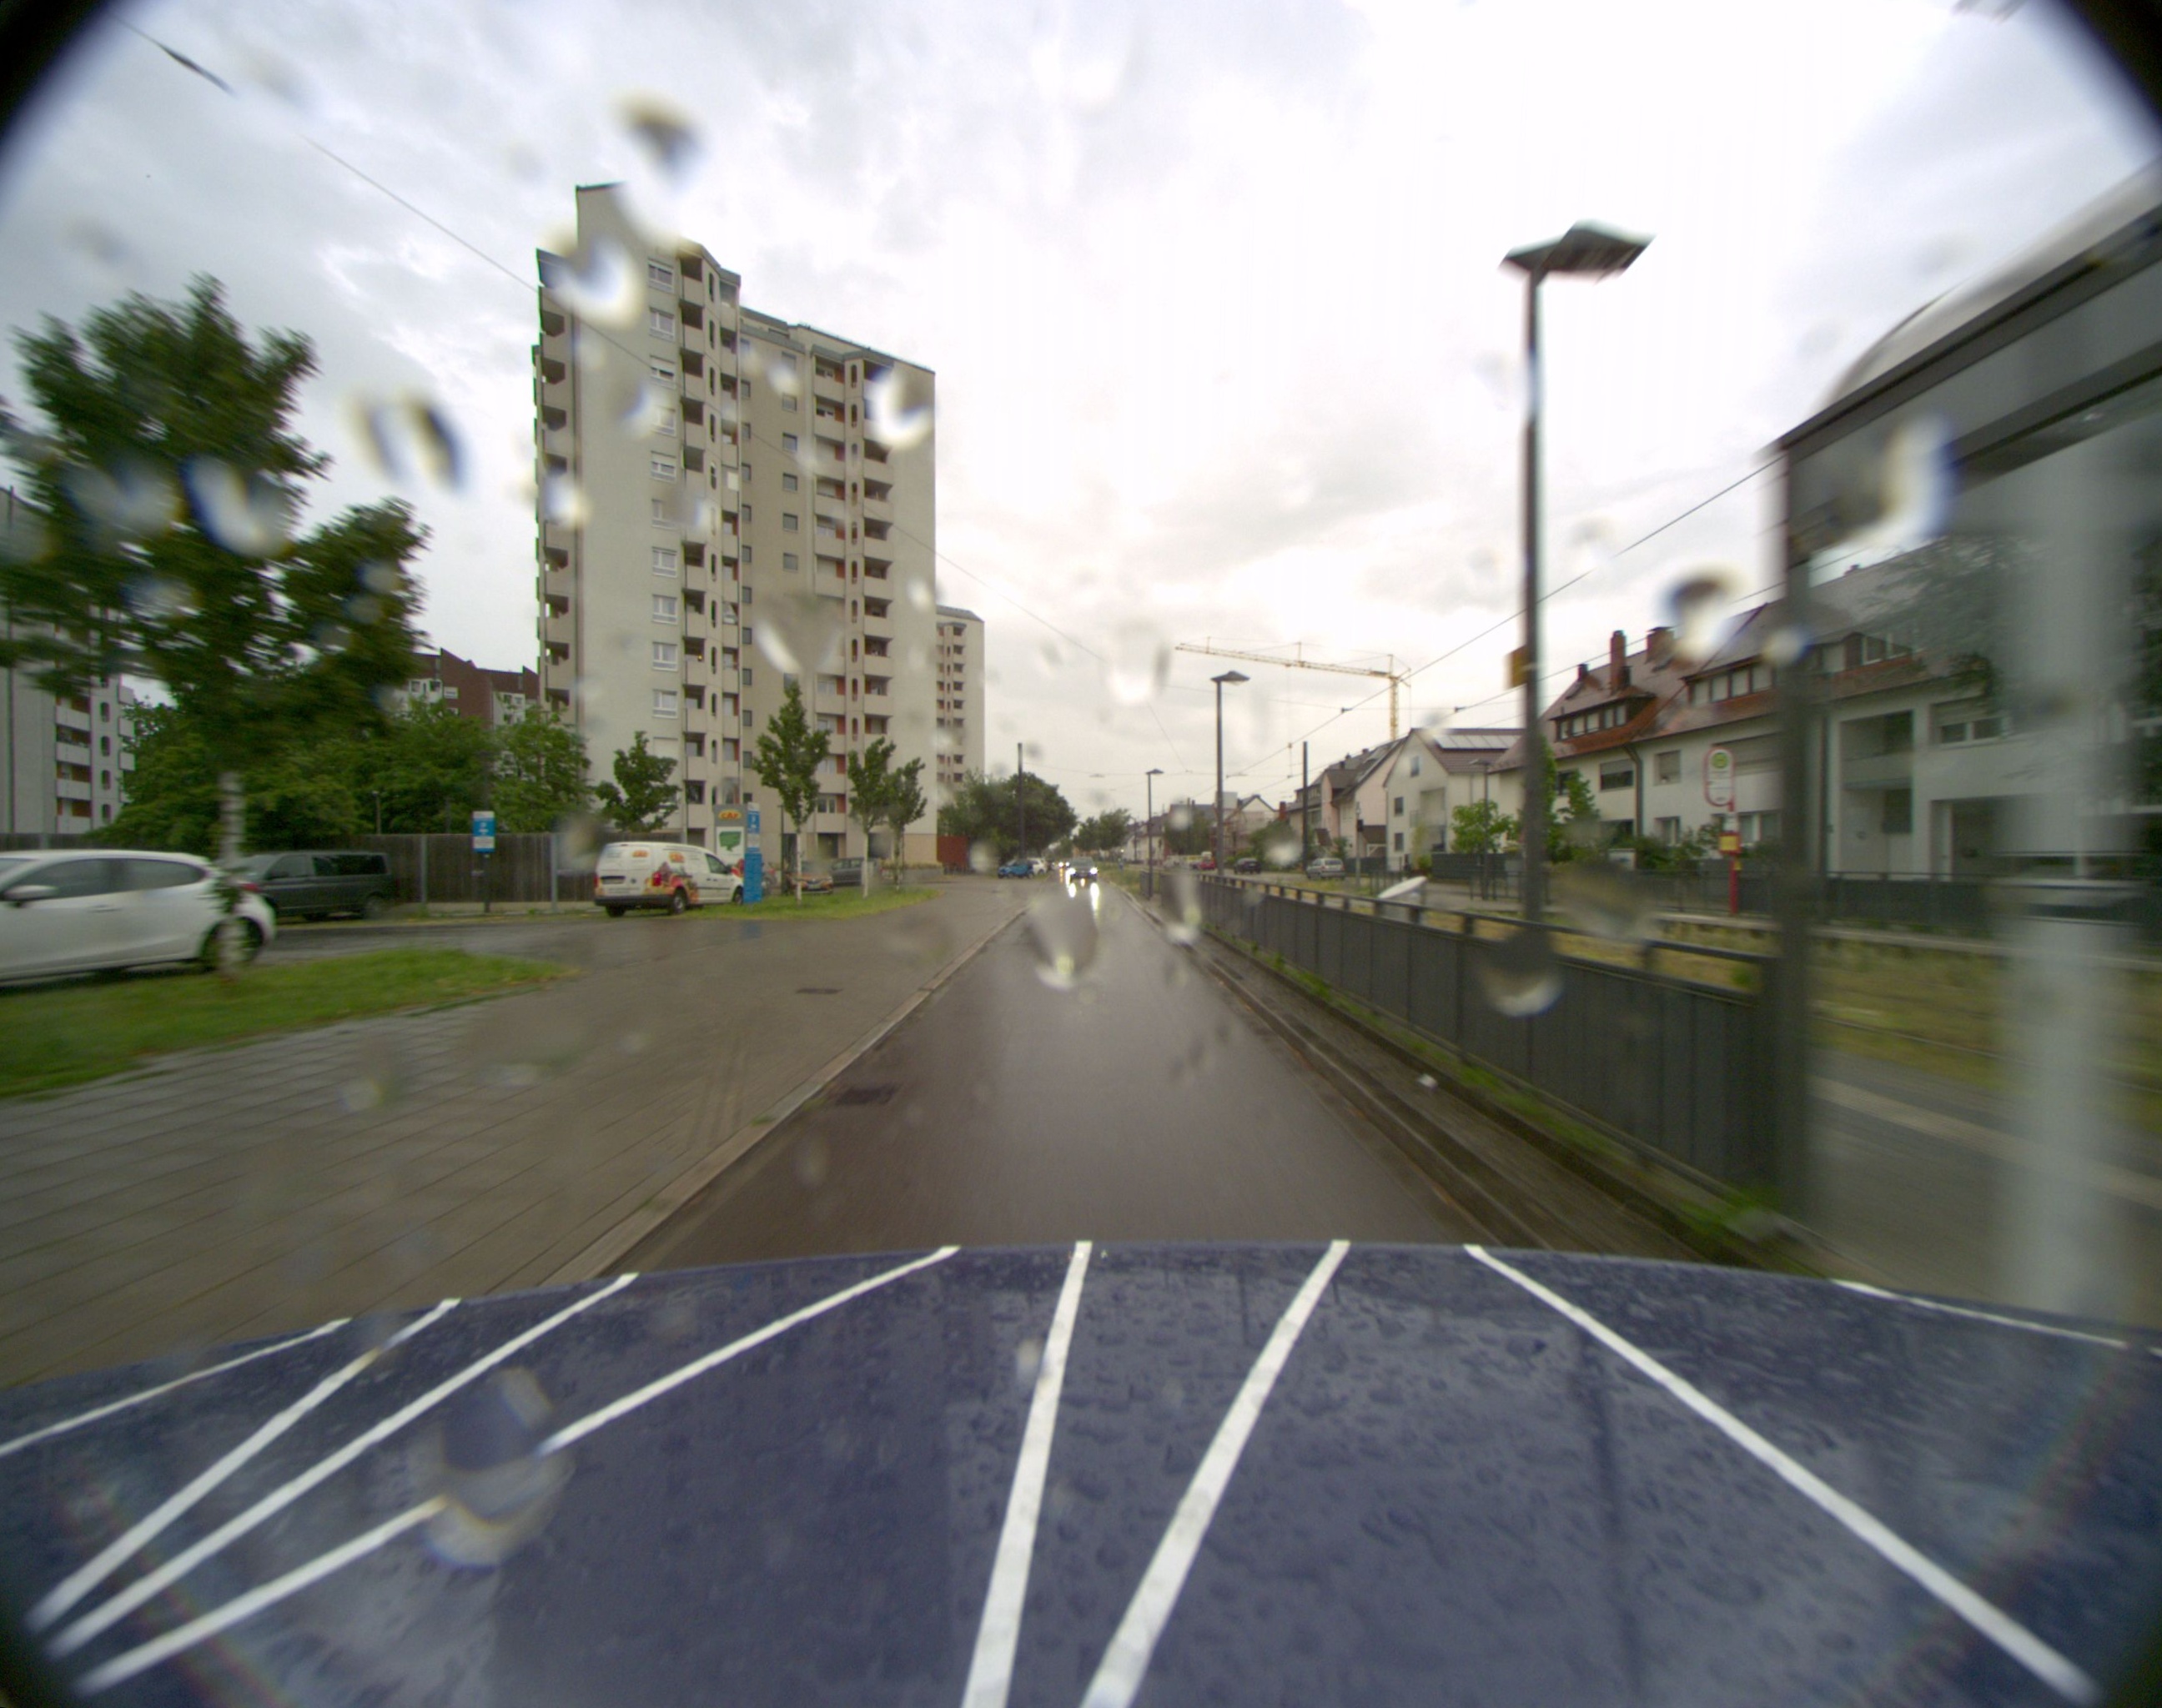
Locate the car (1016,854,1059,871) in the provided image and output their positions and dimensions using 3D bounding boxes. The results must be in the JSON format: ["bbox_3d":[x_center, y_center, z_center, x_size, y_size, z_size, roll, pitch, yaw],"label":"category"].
[{"bbox_3d":[-4.543,0.904,79.604,4.195,1.661,1.680,3,-1,-38],"label":"car"}]

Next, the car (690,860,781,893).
[{"bbox_3d":[-18.173,1.137,40.005,4.119,1.524,1.811,-2,0,-31],"label":"car"}]

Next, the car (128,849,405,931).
[{"bbox_3d":[-20.994,0.865,19.978,1.968,1.858,4.780,-1,0,3],"label":"car"}]

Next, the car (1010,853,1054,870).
[{"bbox_3d":[-5.265,0.822,82.108,4.471,1.661,1.808,3,-1,-39],"label":"car"}]

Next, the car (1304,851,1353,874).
[{"bbox_3d":[16.682,0.540,51.327,1.999,1.405,3.656,-1,1,-2],"label":"car"}]

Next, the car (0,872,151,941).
[{"bbox_3d":[-25.466,1.238,18.866,1.777,1.434,3.990,-2,1,-32],"label":"car"}]

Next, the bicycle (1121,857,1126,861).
[{"bbox_3d":[10.546,1.175,189.863,0.937,1.037,3.433,0,0,-3],"label":"bicycle"}]

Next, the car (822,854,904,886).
[{"bbox_3d":[-12.414,0.881,43.350,4.119,1.607,1.811,-2,0,-31],"label":"car"}]

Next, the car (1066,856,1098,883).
[{"bbox_3d":[0.007,0.975,50.529,1.999,1.611,3.998,-1,1,-2],"label":"car"}]

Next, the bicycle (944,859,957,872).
[{"bbox_3d":[-10.743,0.961,62.639,0.663,1.000,2.058,-1,1,0],"label":"bicycle"}]

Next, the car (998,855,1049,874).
[{"bbox_3d":[-5.036,0.927,66.999,4.195,1.538,1.760,3,-1,-41],"label":"car"}]

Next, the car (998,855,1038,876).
[{"bbox_3d":[-4.762,0.826,57.845,2.570,1.539,1.598,-1,1,-41],"label":"car"}]

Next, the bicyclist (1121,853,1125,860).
[{"bbox_3d":[10.520,0.644,190.259,0.956,1.575,1.399,-1,1,-2],"label":"bicyclist"}]

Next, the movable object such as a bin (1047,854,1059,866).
[{"bbox_3d":[-3.820,0.832,104.368,1.165,1.553,1.372,-2,1,-24],"label":"movable object such as a bin"}]

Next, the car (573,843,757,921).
[{"bbox_3d":[-10.712,0.675,20.075,1.968,1.773,4.898,-1,0,2],"label":"car"}]

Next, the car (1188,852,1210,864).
[{"bbox_3d":[15.435,0.519,99.492,1.999,1.401,4.174,-1,-1,-2],"label":"car"}]

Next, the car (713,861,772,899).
[{"bbox_3d":[-14.658,1.068,32.791,2.003,1.433,3.991,-2,1,-28],"label":"car"}]

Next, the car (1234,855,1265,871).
[{"bbox_3d":[16.172,0.852,73.032,1.842,1.418,4.174,-1,0,-2],"label":"car"}]

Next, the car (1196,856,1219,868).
[{"bbox_3d":[15.622,0.933,93.964,1.999,1.365,3.842,-1,1,-2],"label":"car"}]

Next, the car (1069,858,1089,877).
[{"bbox_3d":[-0.199,1.419,80.281,1.998,1.762,3.999,-1,1,0],"label":"car"}]

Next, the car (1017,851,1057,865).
[{"bbox_3d":[-5.092,0.451,88.272,4.470,1.419,1.680,3,-1,-35],"label":"car"}]

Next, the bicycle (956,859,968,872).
[{"bbox_3d":[-9.775,0.963,62.590,0.663,1.000,2.058,-1,1,0],"label":"bicycle"}]

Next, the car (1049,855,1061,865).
[{"bbox_3d":[-4.888,1.122,142.521,1.998,1.696,3.999,-1,1,0],"label":"car"}]

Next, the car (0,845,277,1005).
[{"bbox_3d":[-11.256,0.700,7.456,1.968,1.526,4.364,-1,0,3],"label":"car"}]

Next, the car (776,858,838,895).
[{"bbox_3d":[-12.132,0.940,33.503,2.003,1.433,3.991,-2,1,-28],"label":"car"}]
